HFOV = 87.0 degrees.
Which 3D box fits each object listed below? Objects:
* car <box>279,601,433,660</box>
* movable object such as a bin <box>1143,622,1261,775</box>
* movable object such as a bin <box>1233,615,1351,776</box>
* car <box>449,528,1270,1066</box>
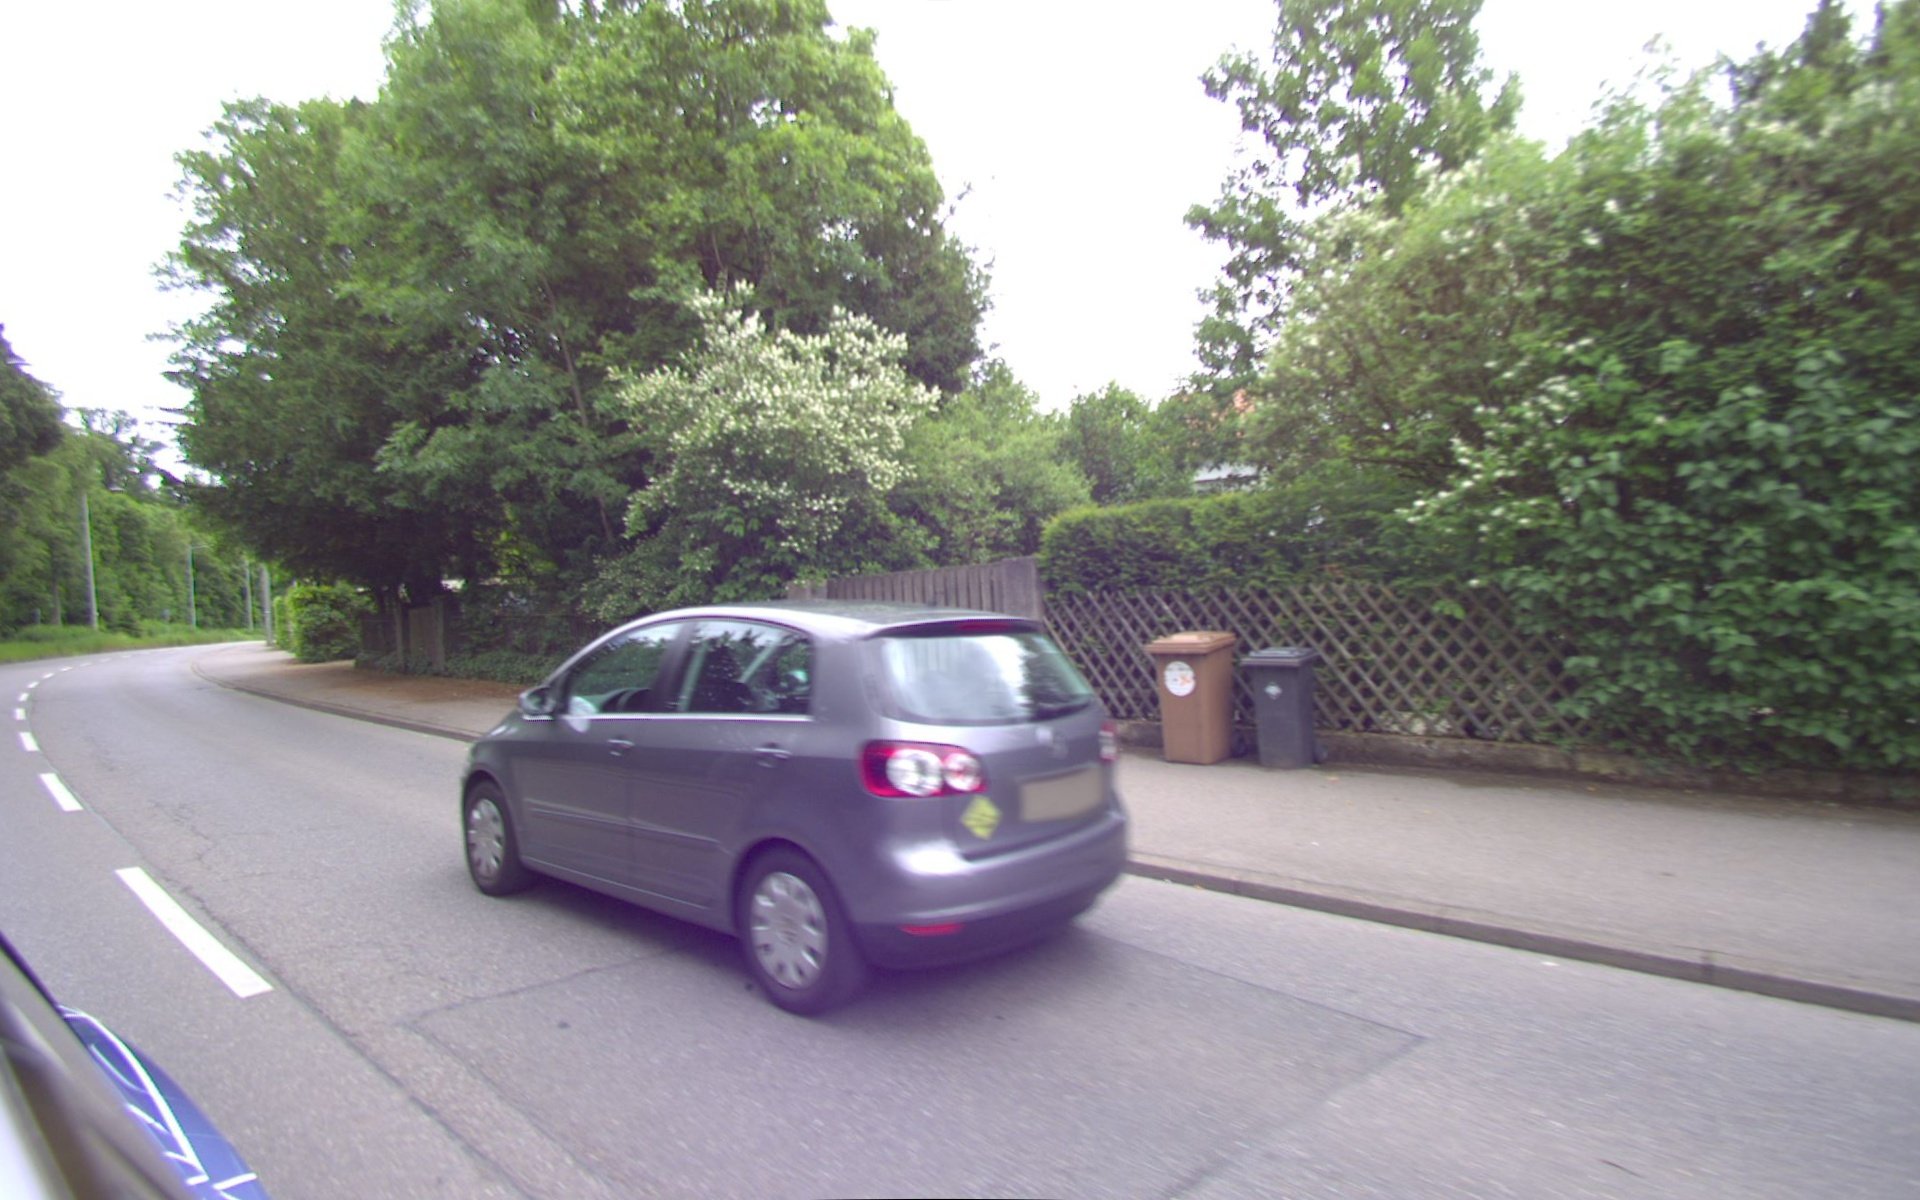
[{"bbox_3d":[-24.294,1.213,40.734,5.318,2.088,2.411,-3,0,19],"label":"car"},{"bbox_3d":[2.015,0.787,8.415,0.646,1.150,0.733,-2,1,41],"label":"movable object such as a bin"},{"bbox_3d":[2.602,0.719,7.931,0.646,1.153,0.622,-2,1,41],"label":"movable object such as a bin"},{"bbox_3d":[-0.759,0.666,5.157,3.998,1.630,1.972,-2,-2,41],"label":"car"}]
